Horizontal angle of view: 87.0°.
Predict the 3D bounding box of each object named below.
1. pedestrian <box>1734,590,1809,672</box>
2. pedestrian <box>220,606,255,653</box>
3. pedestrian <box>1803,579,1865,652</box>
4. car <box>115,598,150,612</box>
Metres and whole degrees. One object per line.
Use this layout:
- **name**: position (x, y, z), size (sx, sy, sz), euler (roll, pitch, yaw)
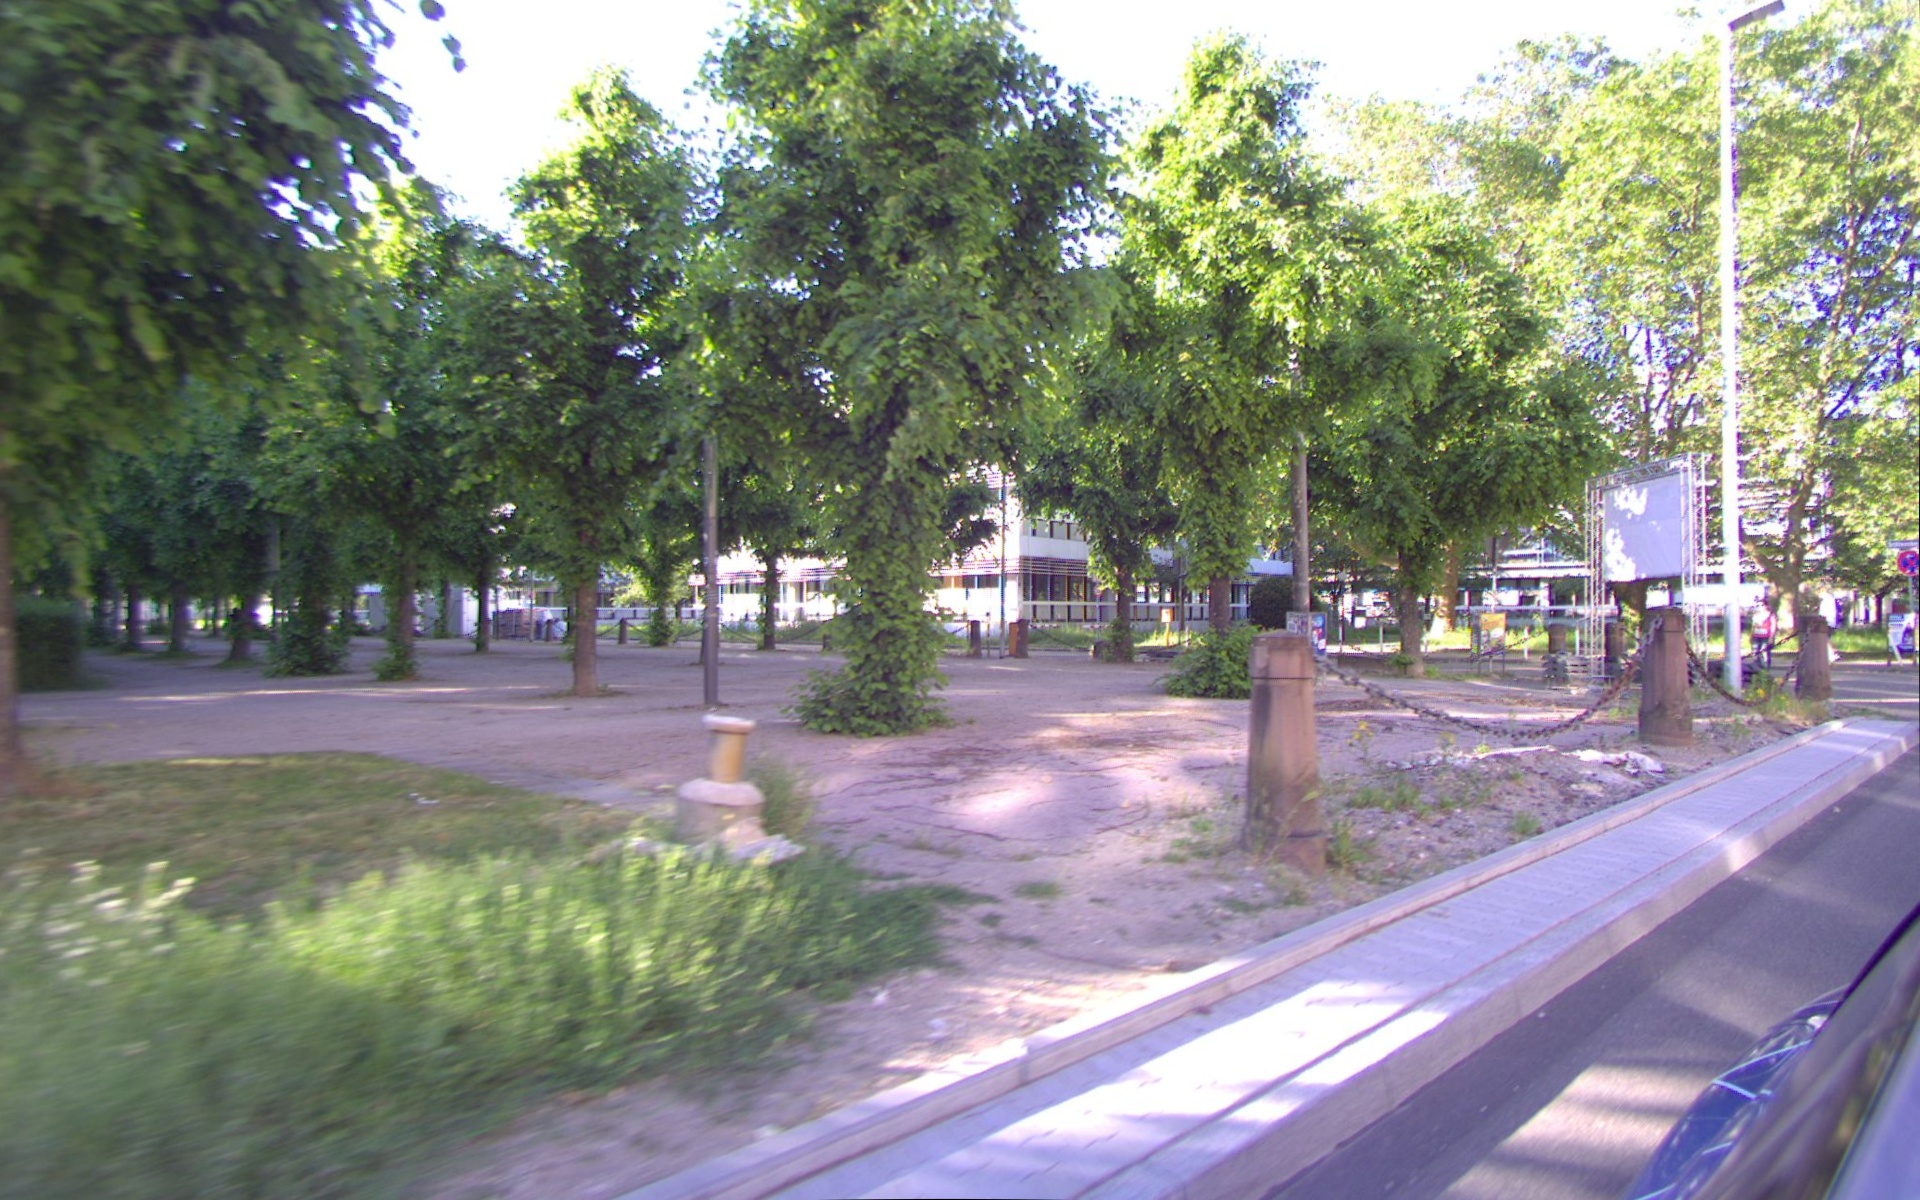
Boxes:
- **pedestrian**: position (16.693, 0.638, 20.833), size (0.924, 1.644, 0.708), euler (-1, -1, 10)
- **pedestrian**: position (-25.520, 1.033, 35.745), size (0.676, 1.603, 0.829), euler (-1, -1, 33)
- **pedestrian**: position (22.475, 0.410, 26.051), size (1.128, 1.836, 0.737), euler (-1, -3, 39)
- **car**: position (-125.082, 0.818, 152.956), size (1.994, 2.040, 3.935), euler (-1, -2, 45)
